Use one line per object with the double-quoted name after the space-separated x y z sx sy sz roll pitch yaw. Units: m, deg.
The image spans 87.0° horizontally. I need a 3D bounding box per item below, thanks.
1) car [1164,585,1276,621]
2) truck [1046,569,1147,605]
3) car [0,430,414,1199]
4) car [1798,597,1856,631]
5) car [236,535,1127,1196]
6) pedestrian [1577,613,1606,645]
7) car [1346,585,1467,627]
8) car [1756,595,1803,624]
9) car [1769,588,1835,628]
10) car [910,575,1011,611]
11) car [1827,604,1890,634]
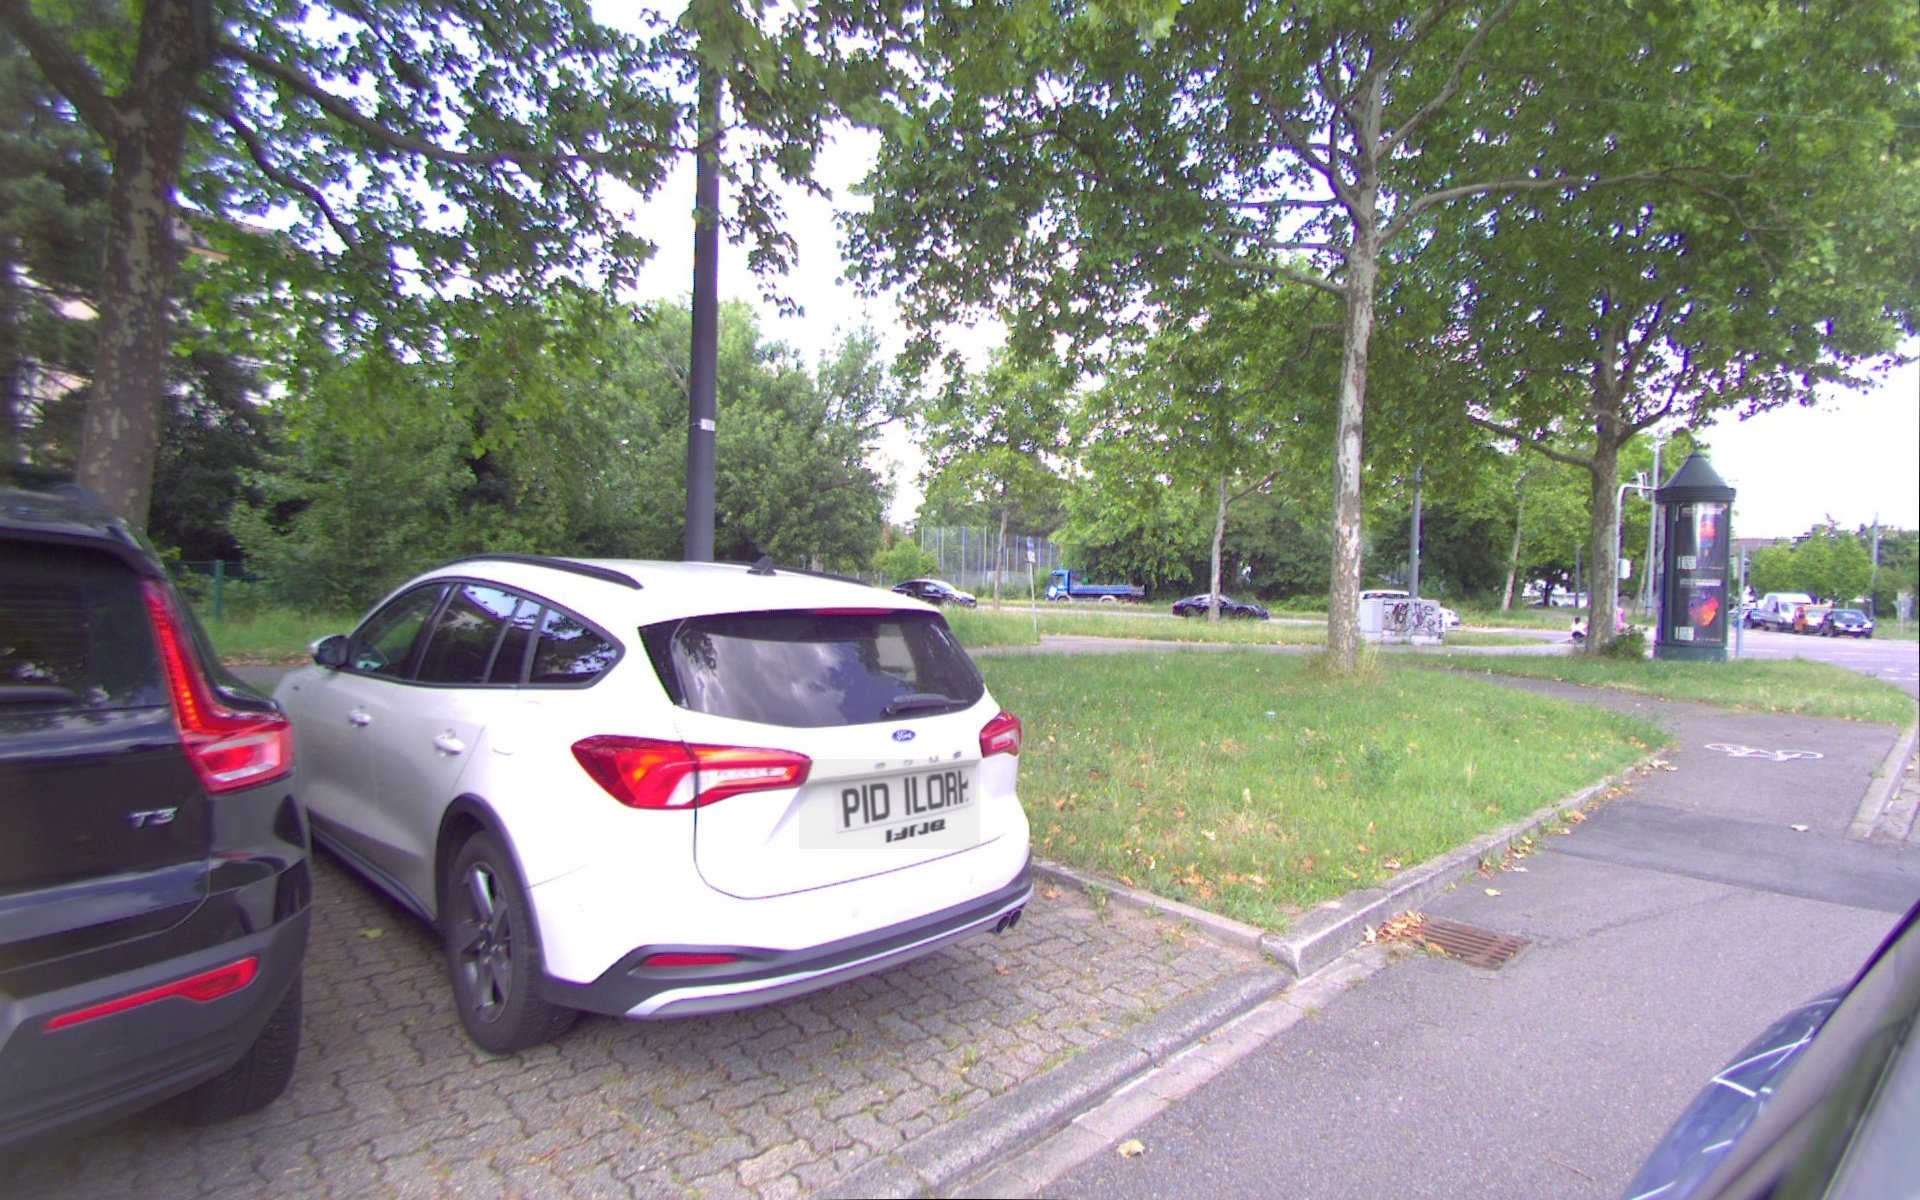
12.082 0.109 47.076 4.706 1.487 1.981 2 2 28 "car"
8.408 -0.829 62.623 5.813 2.038 2.266 2 1 33 "truck"
-3.442 0.426 3.116 4.661 1.646 1.818 4 2 45 "car"
53.148 0.798 62.093 1.780 1.959 4.325 1 1 29 "car"
-1.710 0.507 4.603 4.661 1.492 1.818 4 2 45 "car"
21.951 0.995 35.186 0.720 1.047 0.888 2 1 41 "pedestrian"
19.298 0.215 43.722 4.644 1.630 1.981 2 2 28 "car"
58.918 0.639 72.795 1.780 1.959 4.326 1 1 28 "car"
56.280 0.485 67.768 2.219 2.538 5.670 1 1 28 "car"
0.006 -0.362 50.430 4.645 1.630 1.980 2 2 29 "car"
50.316 1.010 56.755 1.781 1.558 3.959 1 1 29 "car"
